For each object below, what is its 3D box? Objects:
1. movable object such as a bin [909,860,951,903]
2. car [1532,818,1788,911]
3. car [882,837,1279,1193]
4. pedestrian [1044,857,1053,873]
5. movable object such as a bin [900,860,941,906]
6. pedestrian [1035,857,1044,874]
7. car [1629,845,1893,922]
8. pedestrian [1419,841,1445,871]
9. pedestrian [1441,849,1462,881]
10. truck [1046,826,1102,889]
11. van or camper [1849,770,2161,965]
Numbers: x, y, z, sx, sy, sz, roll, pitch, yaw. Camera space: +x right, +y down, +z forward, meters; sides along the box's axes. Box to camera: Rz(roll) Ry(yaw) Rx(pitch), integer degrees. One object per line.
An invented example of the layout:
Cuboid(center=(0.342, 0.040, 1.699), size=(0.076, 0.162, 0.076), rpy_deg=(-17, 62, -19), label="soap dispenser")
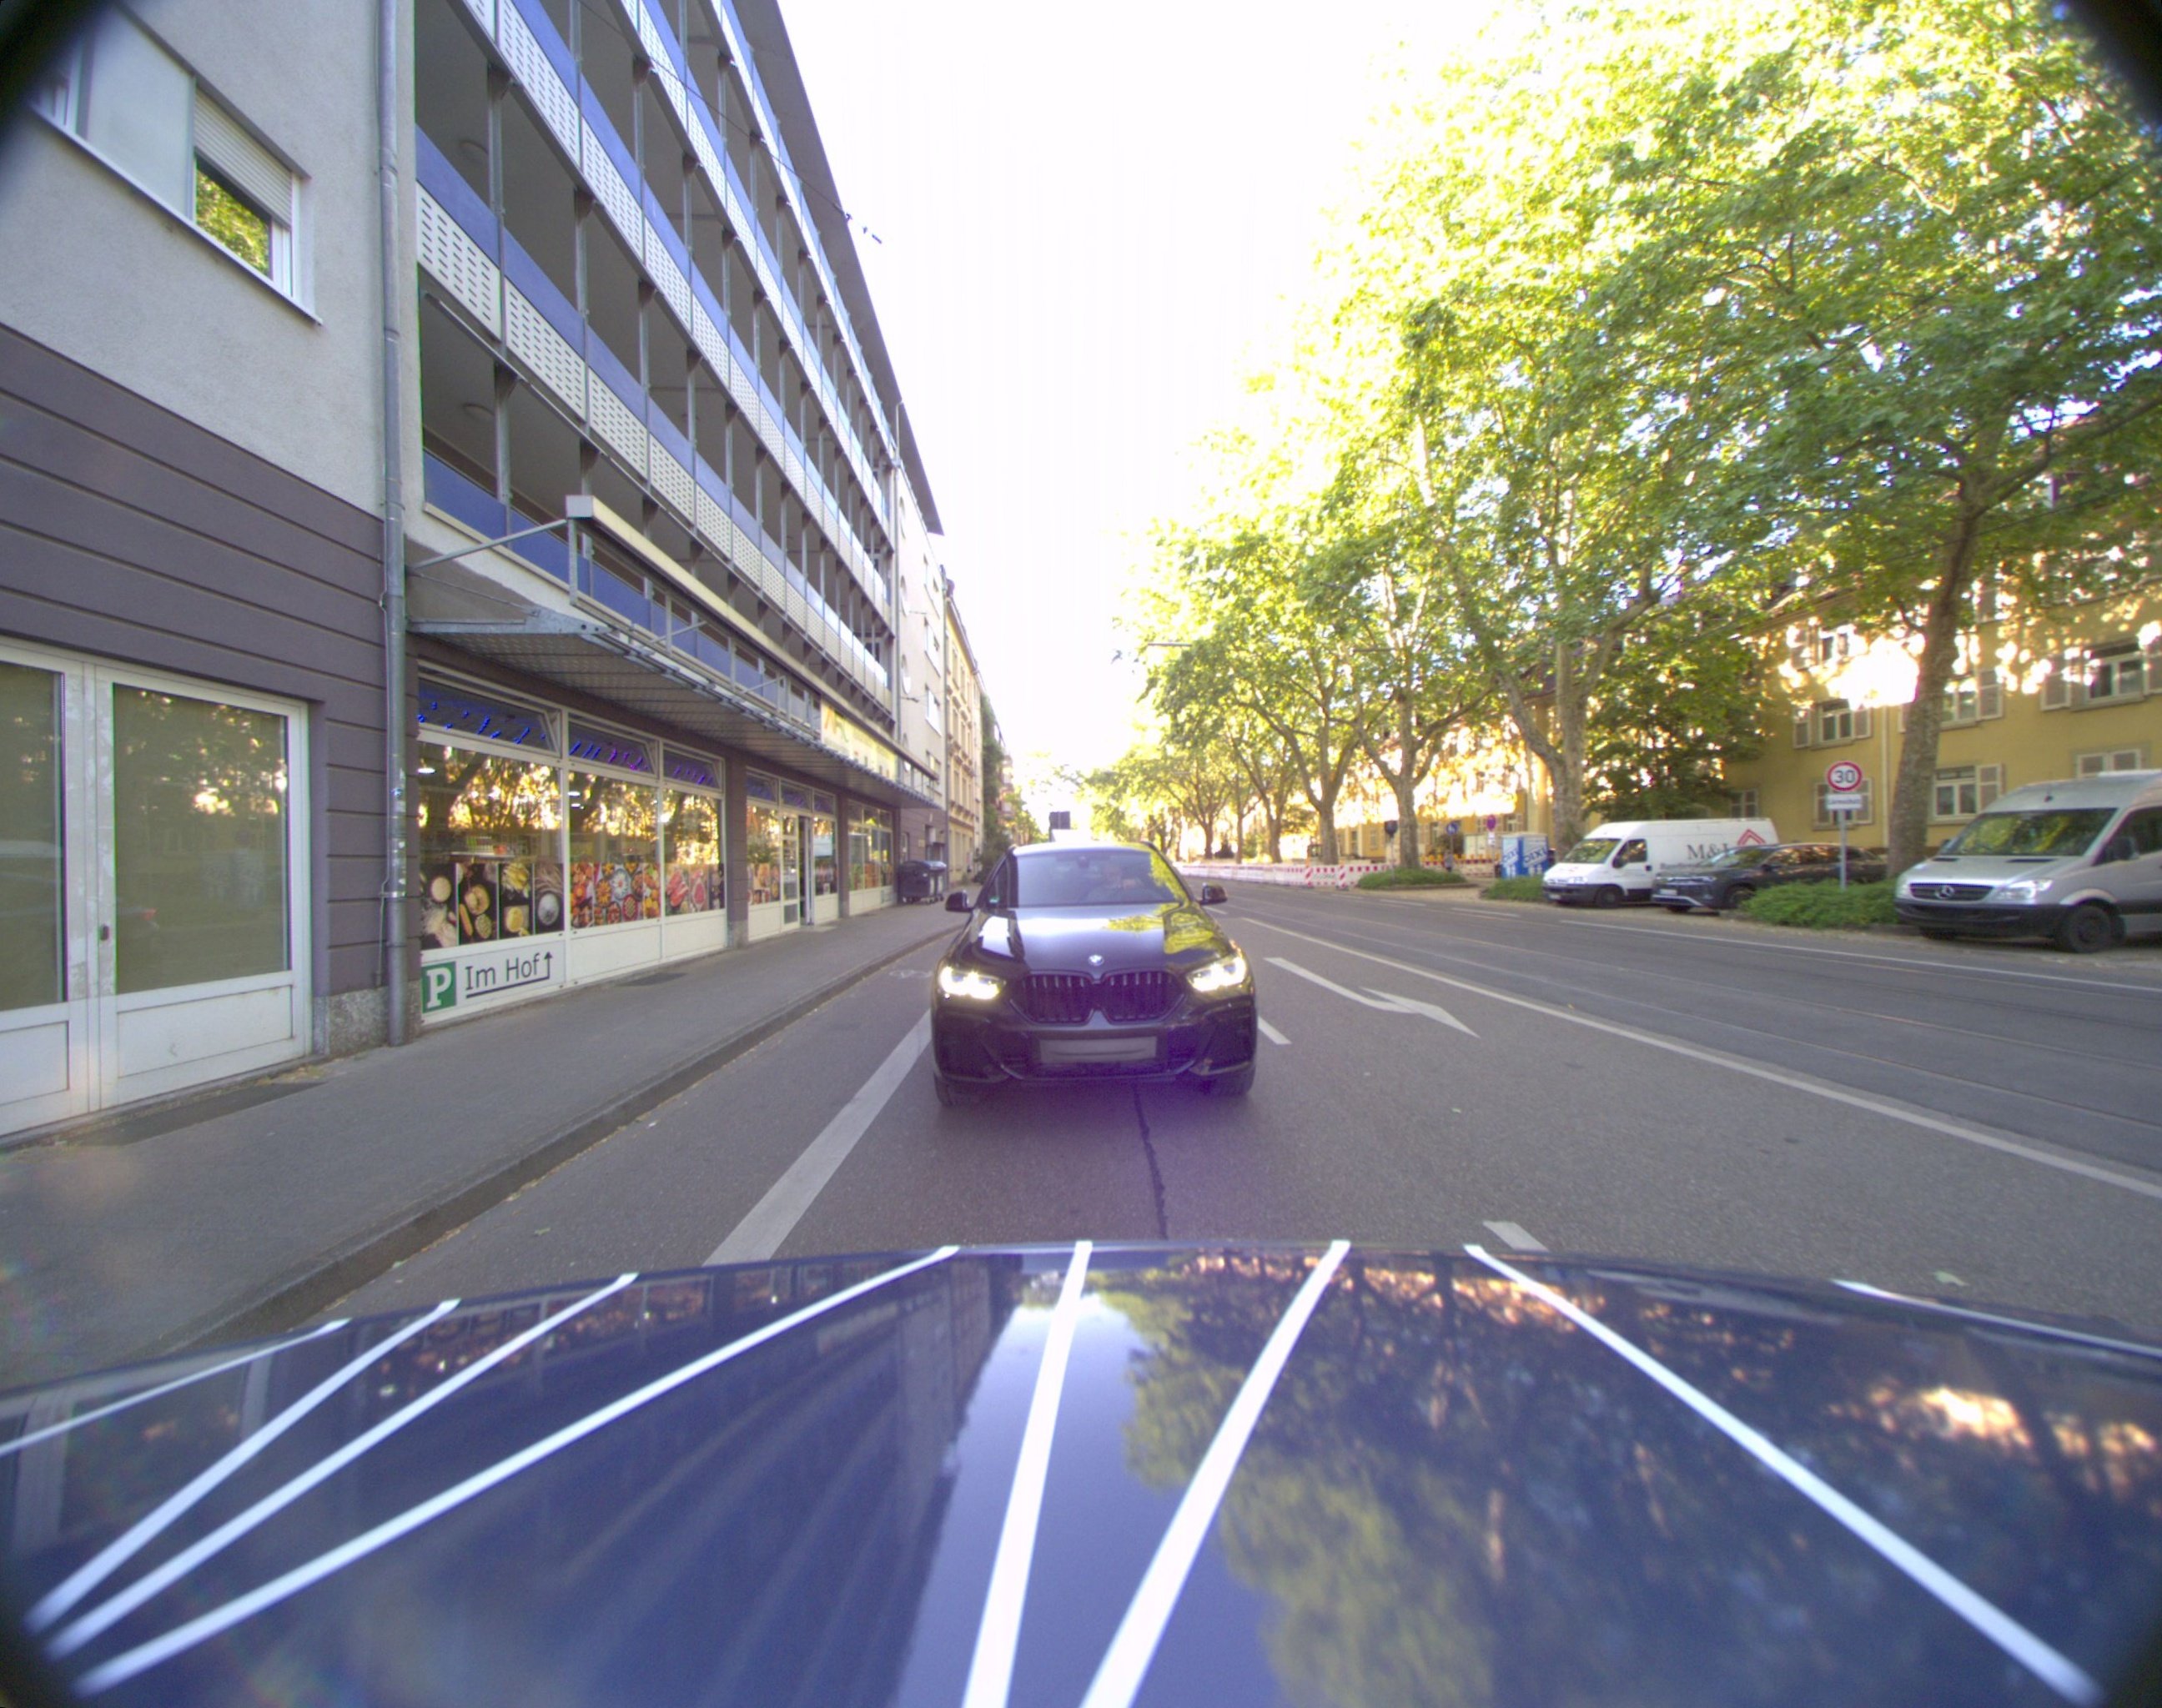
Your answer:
Cuboid(center=(-5.285, 0.954, 26.718), size=(1.122, 1.437, 1.306), rpy_deg=(-1, 0, 4), label="movable object such as a bin")
Cuboid(center=(15.854, 0.275, 21.010), size=(5.612, 2.361, 2.025), rpy_deg=(-1, 0, -2), label="car")
Cuboid(center=(0.022, 0.824, 6.069), size=(1.943, 1.733, 4.475), rpy_deg=(-2, 0, 1), label="car")
Cuboid(center=(-3.475, 1.198, 82.073), size=(0.876, 1.728, 0.848), rpy_deg=(-3, 1, 1), label="pedestrian")
Cuboid(center=(-5.225, 0.934, 24.823), size=(1.069, 1.438, 1.296), rpy_deg=(-1, 0, -1), label="movable object such as a bin")
Cuboid(center=(-4.465, 1.249, 81.857), size=(0.876, 1.728, 0.848), rpy_deg=(-3, 1, 1), label="pedestrian")
Cuboid(center=(15.942, 0.657, 17.984), size=(4.575, 1.621, 1.969), rpy_deg=(-1, 0, -2), label="car")
Cuboid(center=(23.721, 0.116, 51.359), size=(1.098, 2.002, 1.235), rpy_deg=(-1, 0, -4), label="pedestrian")
Cuboid(center=(18.298, 0.542, 37.531), size=(0.597, 1.563, 0.716), rpy_deg=(-1, 0, -15), label="pedestrian")
Cuboid(center=(-0.573, 0.203, 43.167), size=(2.385, 3.165, 8.525), rpy_deg=(2, 0, -5), label="truck")
Cuboid(center=(16.091, 0.128, 11.811), size=(6.127, 2.661, 2.229), rpy_deg=(-2, 0, -2), label="van or camper")
